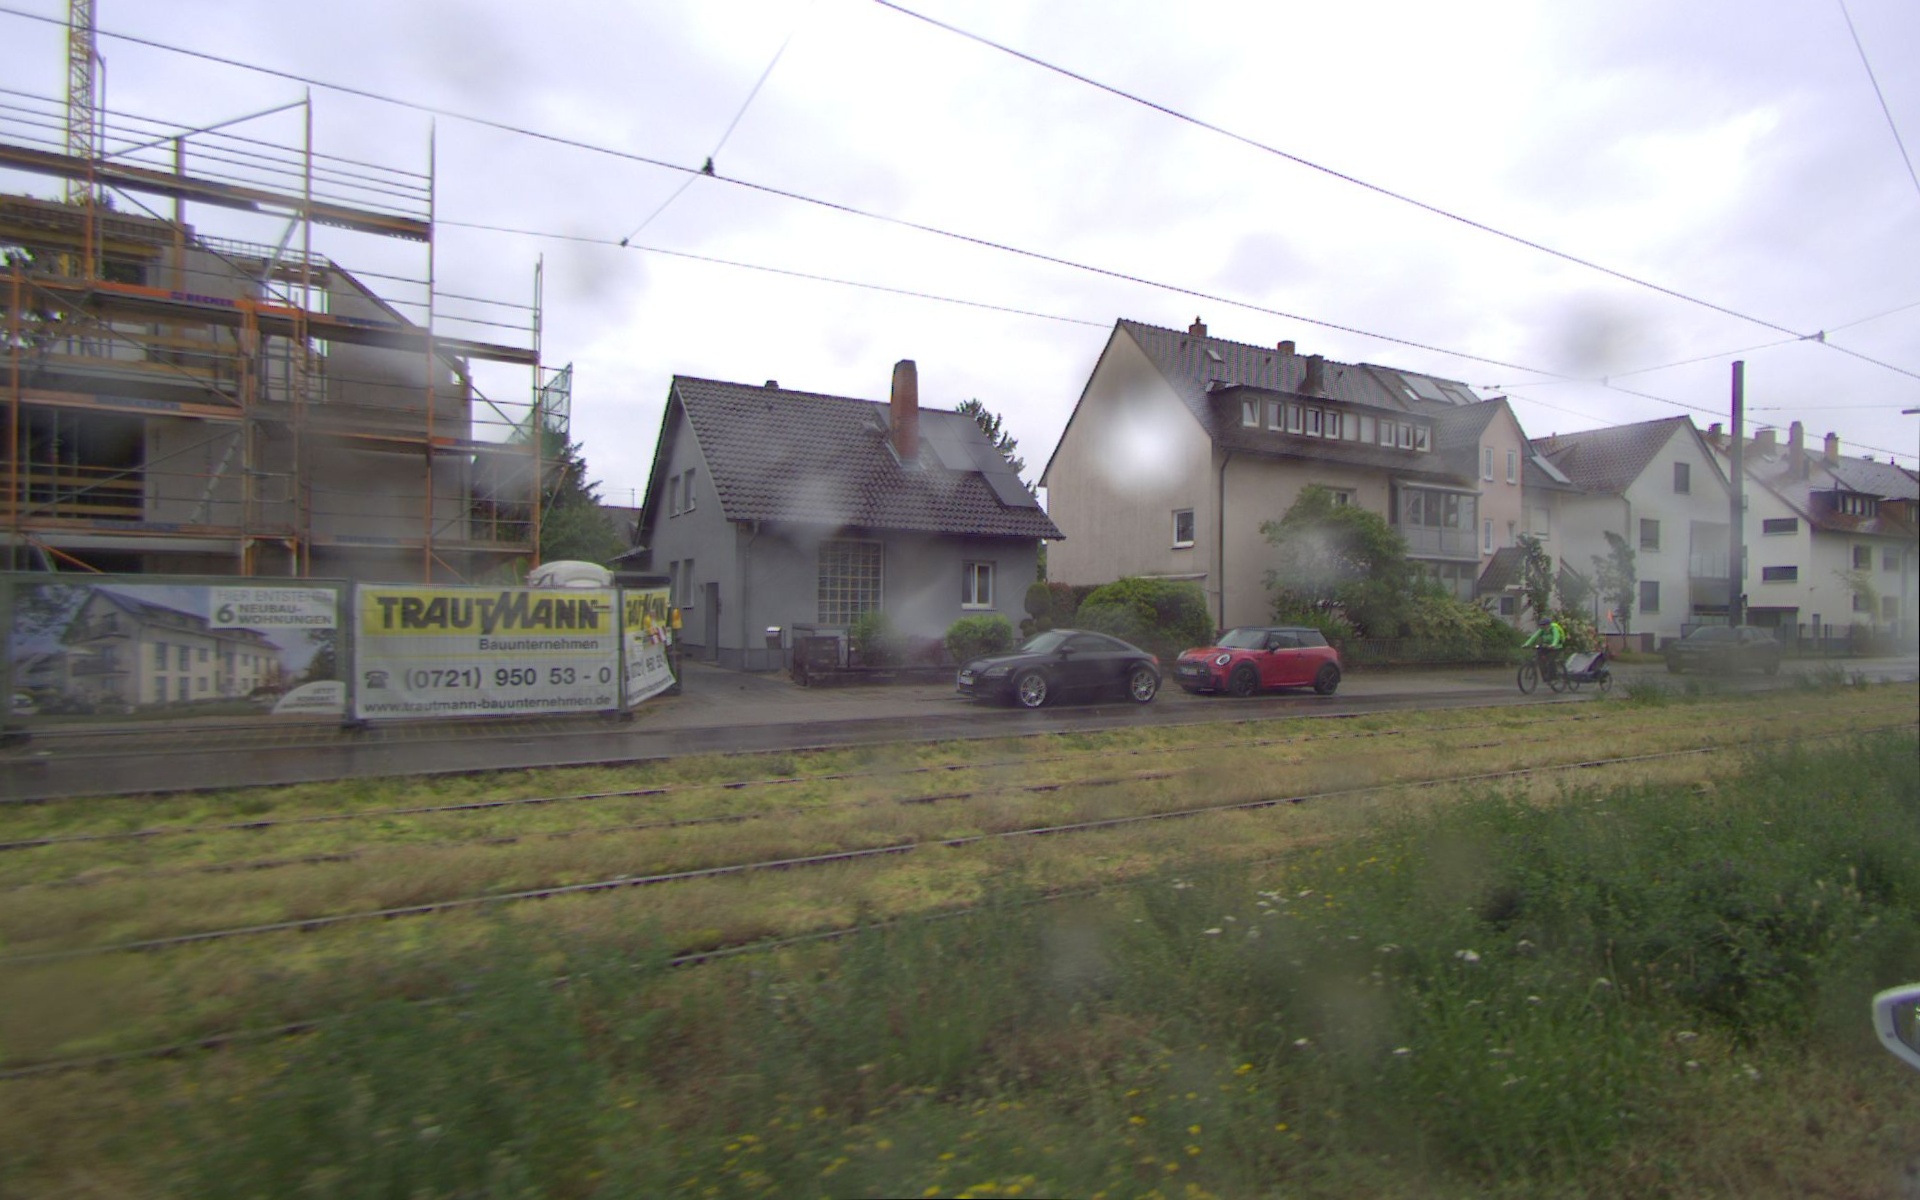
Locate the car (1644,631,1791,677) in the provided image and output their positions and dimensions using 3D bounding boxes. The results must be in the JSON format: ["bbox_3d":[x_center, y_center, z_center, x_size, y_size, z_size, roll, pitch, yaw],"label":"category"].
[{"bbox_3d":[23.913,1.656,31.698,4.628,1.261,1.889,1,1,-28],"label":"car"}]

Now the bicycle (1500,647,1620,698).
[{"bbox_3d":[13.877,1.641,23.197,3.159,1.041,1.013,1,-1,-31],"label":"bicycle"}]

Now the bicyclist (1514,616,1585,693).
[{"bbox_3d":[13.430,1.218,22.906,1.079,1.708,1.013,1,-1,-30],"label":"bicyclist"}]

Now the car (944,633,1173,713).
[{"bbox_3d":[1.867,1.291,18.680,4.023,1.261,1.655,1,1,-30],"label":"car"}]

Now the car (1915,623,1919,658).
[{"bbox_3d":[42.828,1.773,42.631,4.628,1.489,1.889,1,1,-28],"label":"car"}]

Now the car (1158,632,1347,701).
[{"bbox_3d":[6.241,1.348,21.353,3.809,1.261,1.666,1,1,-30],"label":"car"}]
